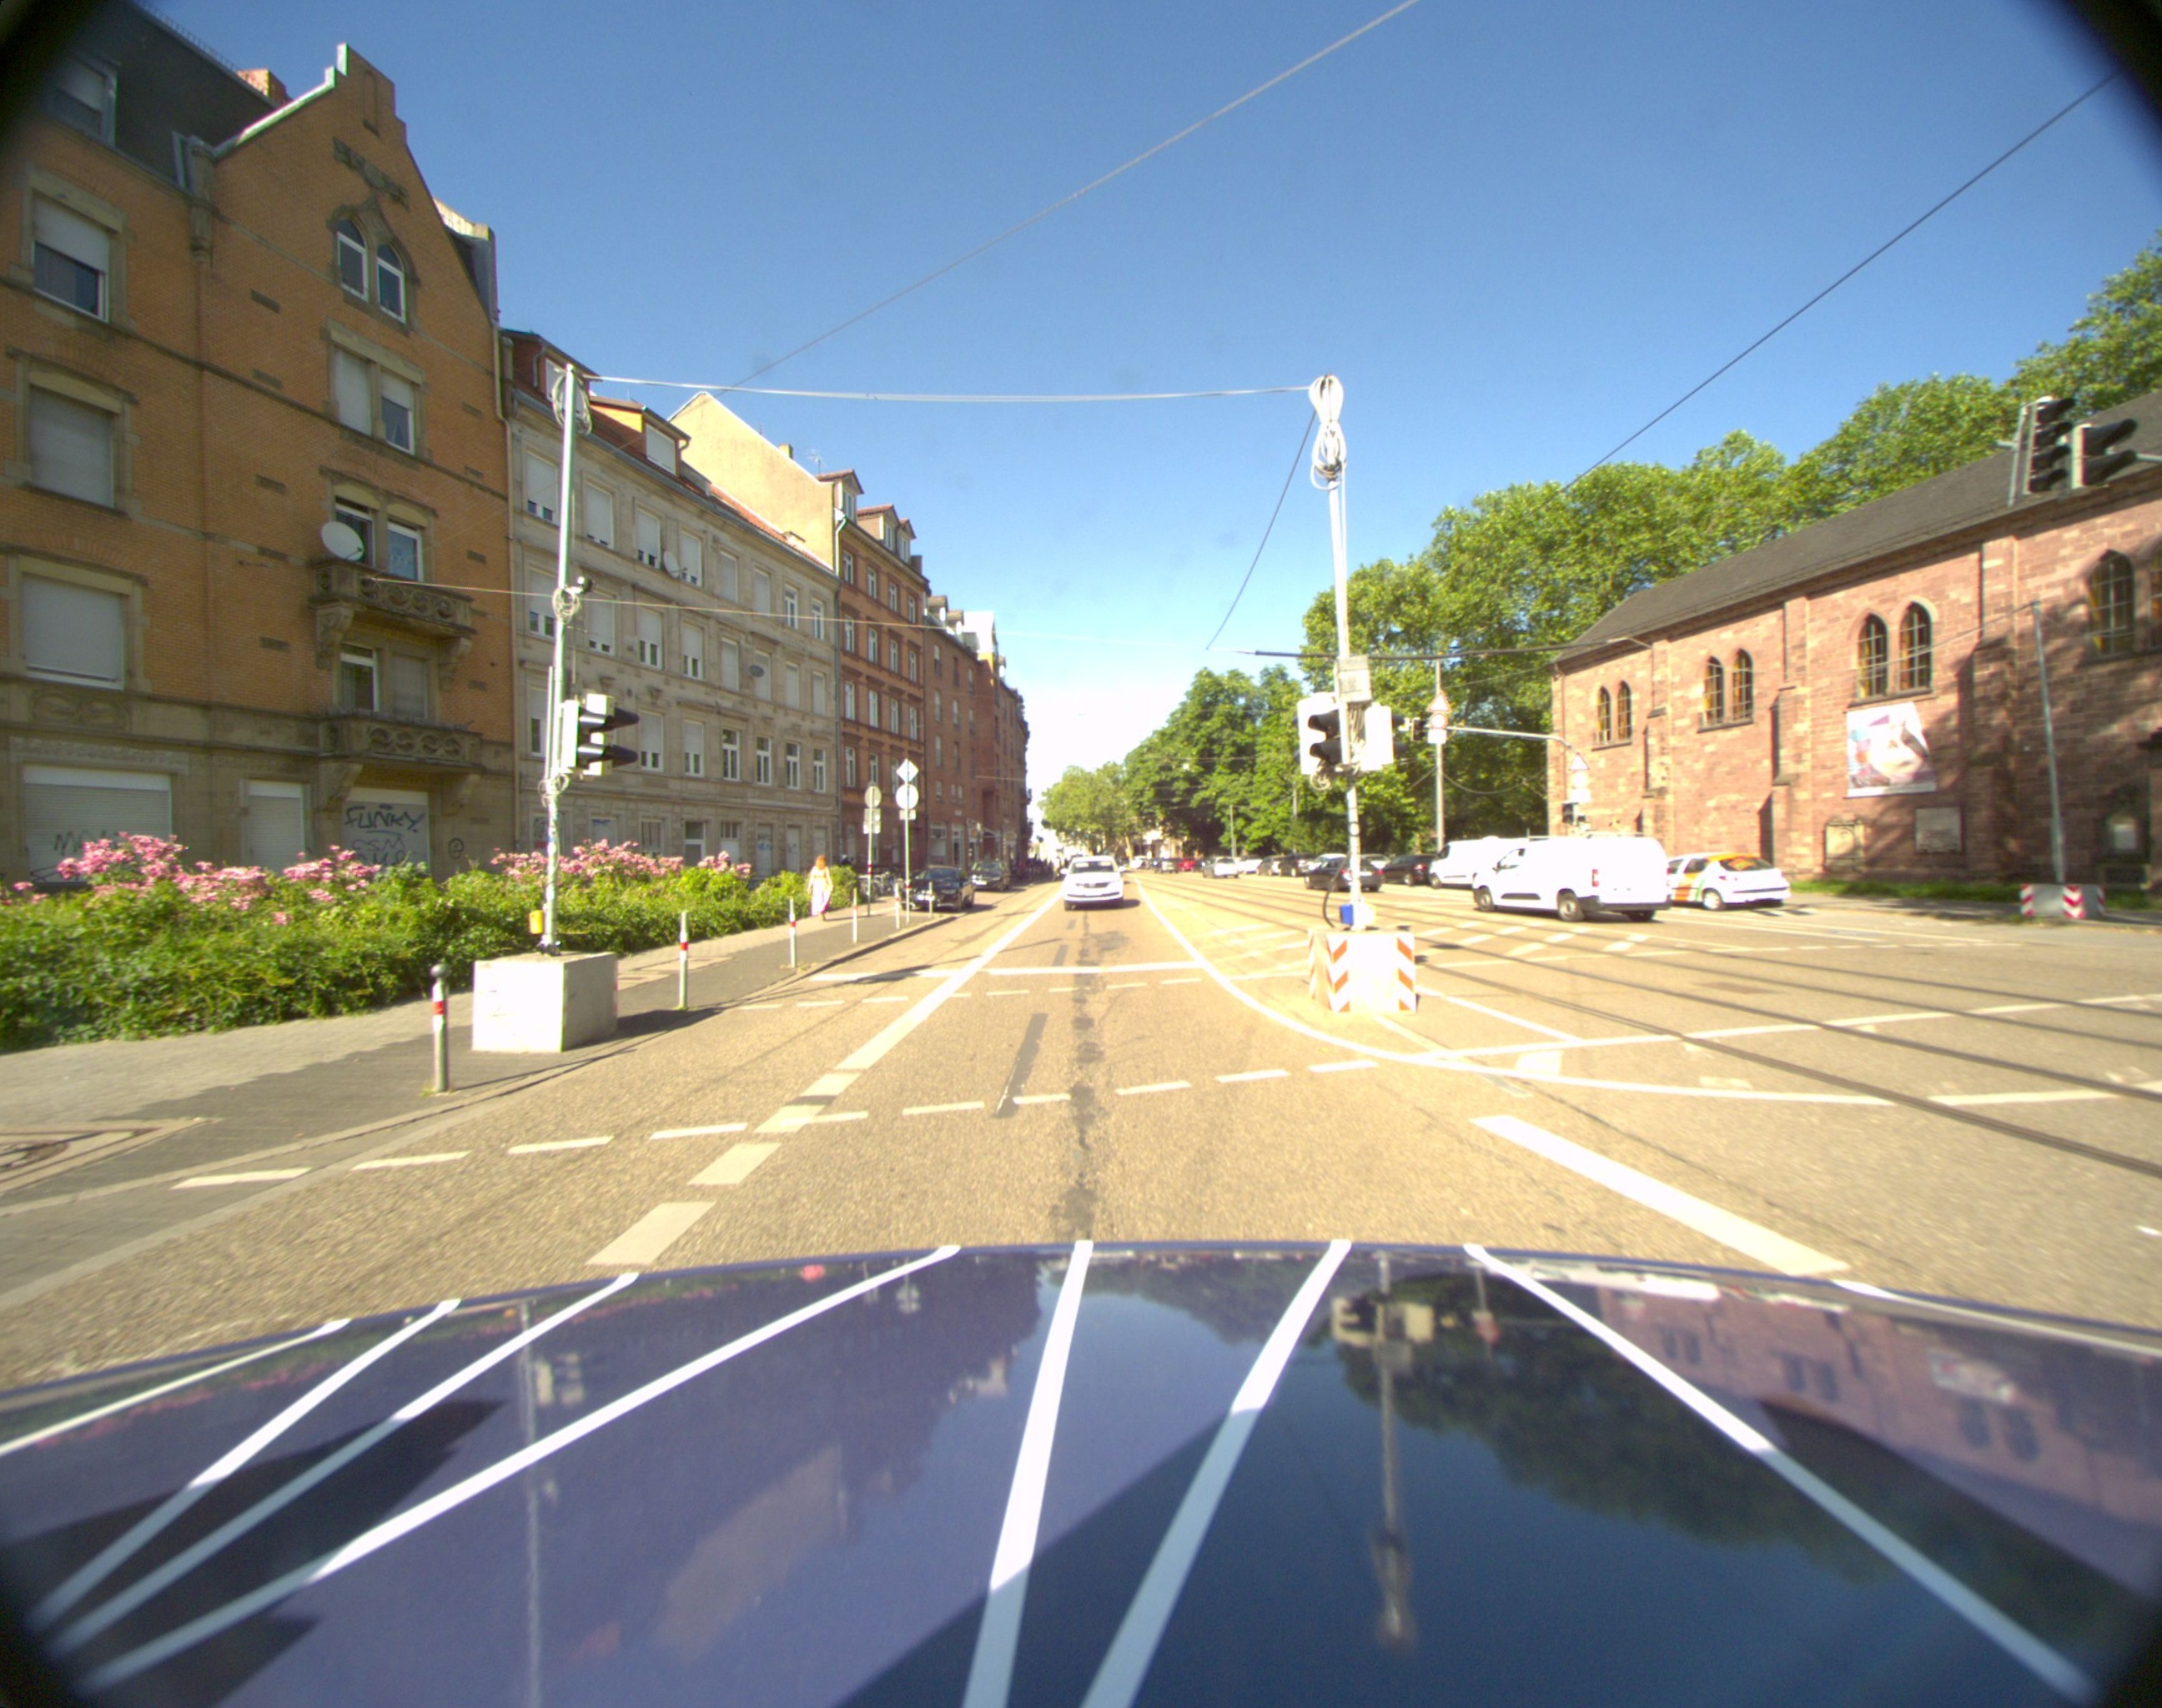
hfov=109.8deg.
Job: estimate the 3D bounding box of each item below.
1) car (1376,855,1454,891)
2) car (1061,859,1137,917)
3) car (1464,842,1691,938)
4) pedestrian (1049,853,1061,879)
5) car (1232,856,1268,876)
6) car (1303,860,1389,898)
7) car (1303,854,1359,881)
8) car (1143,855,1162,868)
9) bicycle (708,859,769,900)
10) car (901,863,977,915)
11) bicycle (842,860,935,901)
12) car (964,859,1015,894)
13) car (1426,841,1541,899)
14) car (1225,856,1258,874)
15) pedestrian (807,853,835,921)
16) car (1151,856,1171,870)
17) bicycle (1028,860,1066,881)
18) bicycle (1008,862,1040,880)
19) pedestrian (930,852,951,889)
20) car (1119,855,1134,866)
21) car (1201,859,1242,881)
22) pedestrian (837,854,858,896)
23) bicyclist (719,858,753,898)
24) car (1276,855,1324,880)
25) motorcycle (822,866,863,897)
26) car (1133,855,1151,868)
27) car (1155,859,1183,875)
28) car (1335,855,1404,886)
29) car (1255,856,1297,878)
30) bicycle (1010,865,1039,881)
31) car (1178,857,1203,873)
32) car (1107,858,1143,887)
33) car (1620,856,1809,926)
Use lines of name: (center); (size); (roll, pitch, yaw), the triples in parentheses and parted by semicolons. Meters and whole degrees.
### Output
car: (15.653, 0.851, 35.796); (1.795, 1.542, 3.859); (-1, 0, -3)
car: (0.681, 1.030, 24.714); (1.800, 1.626, 4.397); (-1, 1, 10)
car: (11.113, 0.727, 17.507); (2.067, 1.880, 4.516); (-1, 0, -4)
pedestrian: (-1.809, 0.830, 53.496); (0.735, 1.784, 0.884); (-1, 0, 1)
car: (13.929, 0.965, 62.759); (1.795, 1.542, 4.306); (-1, 0, -2)
car: (10.755, 0.976, 31.191); (1.798, 1.421, 4.375); (-1, 0, -3)
car: (15.192, 0.817, 46.399); (1.795, 1.542, 4.306); (-1, 0, -2)
car: (8.935, 0.965, 94.976); (1.795, 1.542, 4.306); (-1, 0, -2)
bicycle: (-11.350, 0.819, 25.268); (0.956, 1.278, 2.237); (-1, 0, 1)
car: (-4.488, 1.065, 24.602); (1.683, 1.475, 4.000); (-1, 0, 0)
bicycle: (-7.858, 1.031, 31.882); (1.969, 1.408, 6.828); (2, 0, 1)
car: (-4.476, 1.058, 37.860); (1.764, 1.516, 4.474); (3, 0, 2)
car: (15.889, 0.595, 30.324); (1.921, 2.084, 4.591); (-1, 0, -4)
car: (14.306, 0.952, 67.964); (1.795, 1.542, 4.306); (-1, 0, -2)
pedestrian: (-6.543, 0.820, 19.136); (0.551, 1.666, 0.687); (-1, 1, -12)
car: (9.474, 1.036, 90.423); (1.795, 1.543, 4.304); (-1, 2, -2)
bicycle: (-2.548, 1.237, 59.116); (1.805, 1.429, 8.782); (-1, 0, 5)
bicycle: (-3.698, 1.121, 49.712); (1.917, 1.130, 0.845); (0, 1, 13)
pedestrian: (-7.745, 0.897, 41.903); (0.844, 2.002, 1.369); (-1, 0, 1)
car: (6.609, 0.878, 110.173); (1.795, 1.542, 4.306); (-1, 0, -2)
car: (9.537, 1.043, 51.751); (1.798, 1.421, 4.375); (-1, 0, -3)
pedestrian: (-10.463, 0.935, 34.039); (0.822, 1.851, 0.703); (-1, 0, -12)
bicyclist: (-11.386, 0.791, 25.111); (0.693, 1.278, 0.862); (-1, 0, 0)
car: (14.640, 0.871, 50.998); (1.795, 1.542, 4.306); (-1, 0, -2)
motorcycle: (-10.661, 1.214, 33.996); (1.632, 1.308, 0.716); (-1, 0, -12)
car: (7.916, 0.951, 99.286); (1.795, 1.542, 4.306); (-1, 0, -2)
car: (8.063, 1.164, 69.852); (1.798, 1.421, 4.375); (-1, 0, -3)
car: (15.403, 0.825, 40.778); (1.796, 1.542, 4.305); (-1, 0, -4)
car: (14.421, 0.899, 56.458); (1.795, 1.542, 4.306); (-1, 0, -2)
bicycle: (-3.808, 1.284, 51.365); (1.801, 1.053, 0.655); (0, 0, 10)
car: (11.428, 1.118, 79.178); (1.795, 1.542, 4.306); (-1, 0, -2)
car: (2.574, 1.058, 44.761); (1.998, 1.607, 4.265); (-1, 0, 3)
car: (16.632, 0.898, 20.217); (1.780, 1.565, 3.676); (-4, 0, -3)
